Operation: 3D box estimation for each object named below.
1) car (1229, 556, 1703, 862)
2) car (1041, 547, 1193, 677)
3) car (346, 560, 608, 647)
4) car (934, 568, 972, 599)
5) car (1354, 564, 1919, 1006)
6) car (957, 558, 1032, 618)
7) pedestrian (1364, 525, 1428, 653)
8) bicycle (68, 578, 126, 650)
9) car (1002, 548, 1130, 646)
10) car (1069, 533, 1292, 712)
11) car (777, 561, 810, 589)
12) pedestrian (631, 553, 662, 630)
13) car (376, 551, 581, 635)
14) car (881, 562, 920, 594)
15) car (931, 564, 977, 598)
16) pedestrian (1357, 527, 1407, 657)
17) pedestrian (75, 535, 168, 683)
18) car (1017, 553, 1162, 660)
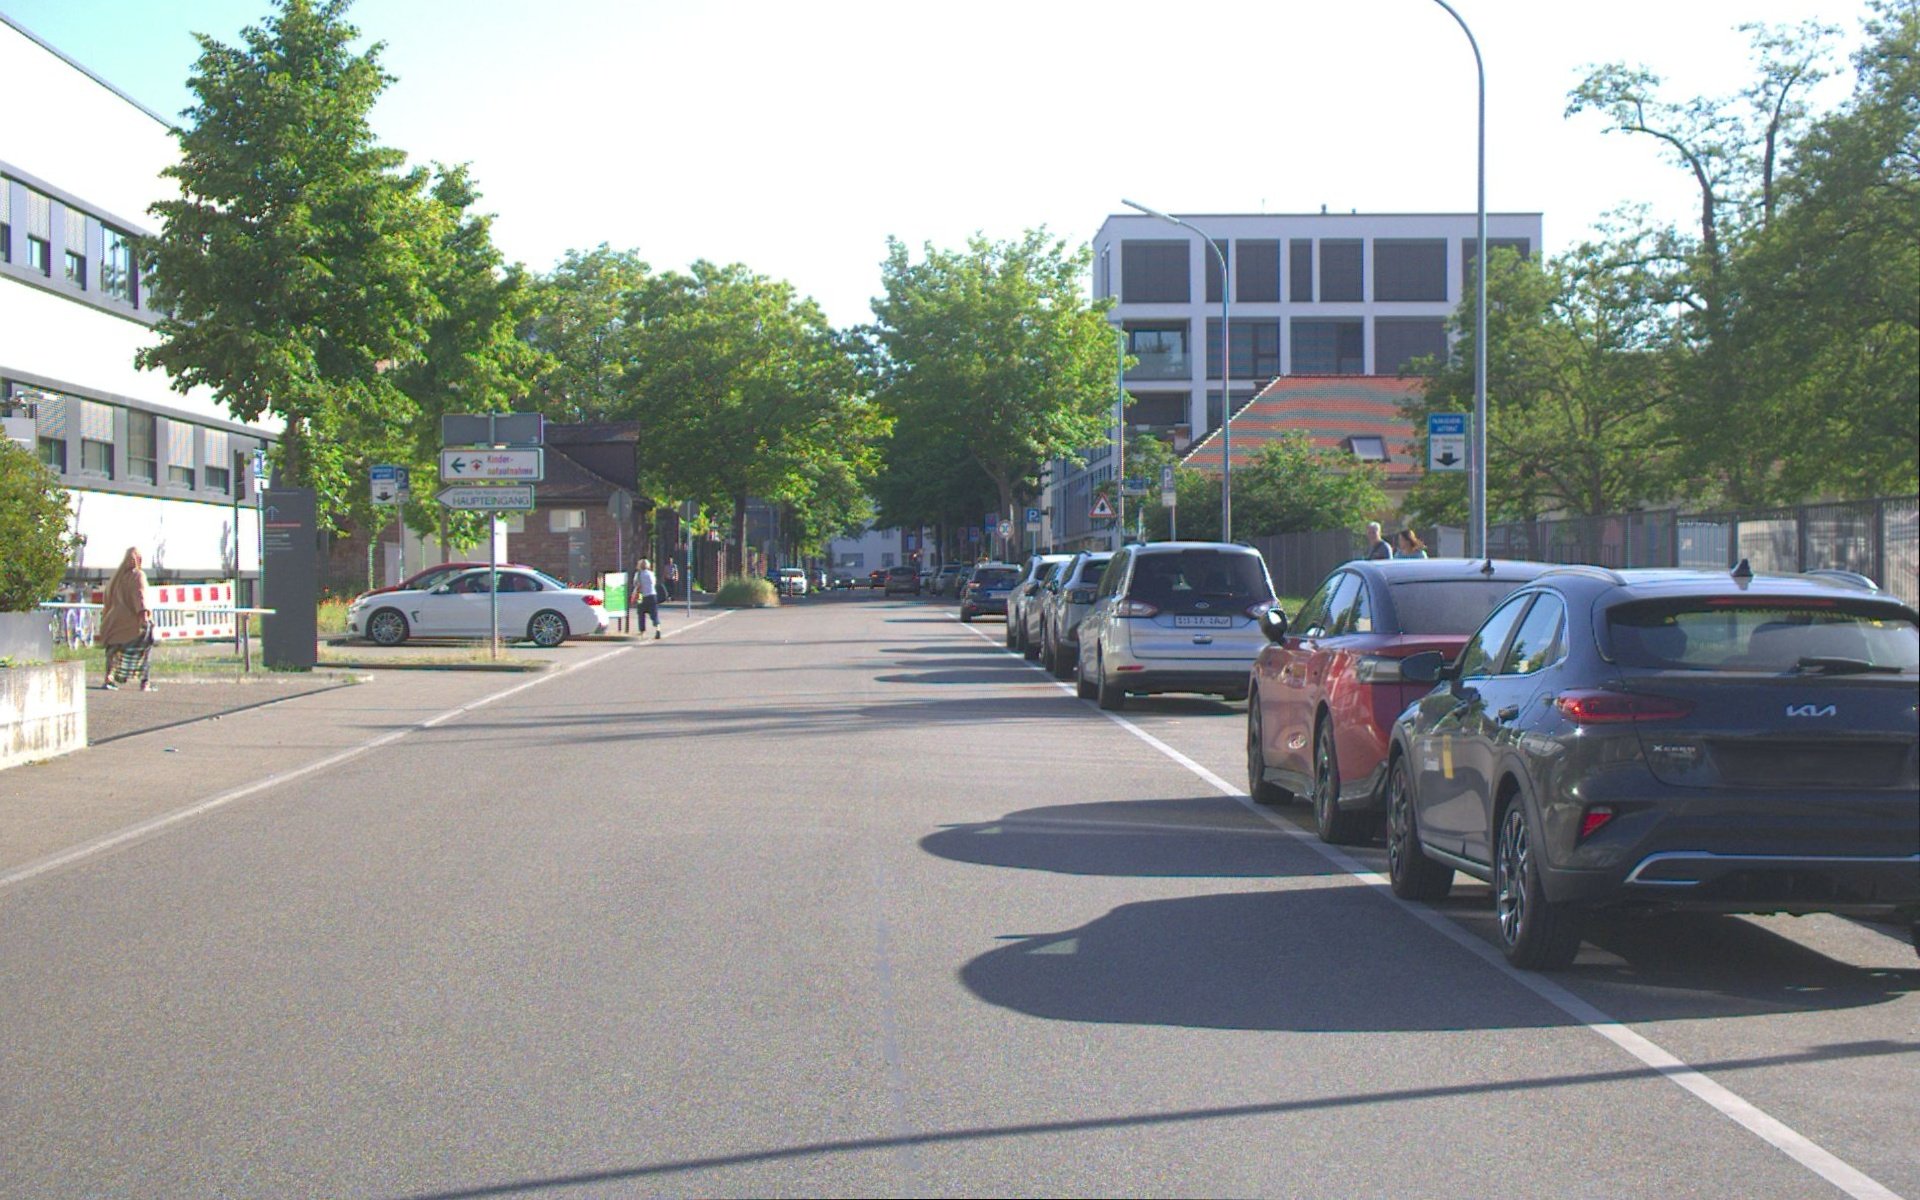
[{"bbox_3d":[2.744,0.522,19.733,1.809,1.505,4.723,1,1,-2],"label":"car"},{"bbox_3d":[2.024,0.119,45.383,1.700,1.601,4.353,1,1,-1],"label":"car"},{"bbox_3d":[-8.575,0.055,61.273,4.511,1.363,1.700,2,0,-6],"label":"car"},{"bbox_3d":[-0.363,-0.870,176.863,1.950,1.573,3.836,0,0,-1],"label":"car"},{"bbox_3d":[2.793,0.621,13.950,1.700,1.482,4.215,1,1,-2],"label":"car"},{"bbox_3d":[0.844,-0.318,86.607,1.817,1.448,4.214,-1,1,0],"label":"car"},{"bbox_3d":[5.559,-0.143,43.847,0.681,1.606,0.541,2,0,-4],"label":"pedestrian"},{"bbox_3d":[-13.818,0.213,55.094,0.534,1.108,1.861,-1,1,-3],"label":"bicycle"},{"bbox_3d":[1.776,-0.073,58.956,1.812,1.583,4.263,1,1,-3],"label":"car"},{"bbox_3d":[2.234,0.186,36.067,1.809,1.716,4.705,1,1,-2],"label":"car"},{"bbox_3d":[-9.103,-1.382,187.707,1.767,1.482,4.000,0,0,-3],"label":"car"},{"bbox_3d":[-6.237,-0.163,68.394,0.538,1.518,0.607,-1,1,0],"label":"pedestrian"},{"bbox_3d":[-8.938,-0.143,63.967,3.634,1.464,1.614,1,1,-3],"label":"car"},{"bbox_3d":[-2.908,-1.058,166.858,1.767,1.543,4.066,0,0,-3],"label":"car"},{"bbox_3d":[-0.278,-0.834,147.725,1.767,1.435,4.000,0,0,-3],"label":"car"},{"bbox_3d":[5.602,-0.101,45.674,0.521,1.703,0.522,2,0,-4],"label":"pedestrian"},{"bbox_3d":[-8.983,0.094,36.859,0.772,1.544,0.780,2,0,-1],"label":"pedestrian"},{"bbox_3d":[1.887,0.067,51.242,1.700,1.482,3.981,1,1,-4],"label":"car"}]
